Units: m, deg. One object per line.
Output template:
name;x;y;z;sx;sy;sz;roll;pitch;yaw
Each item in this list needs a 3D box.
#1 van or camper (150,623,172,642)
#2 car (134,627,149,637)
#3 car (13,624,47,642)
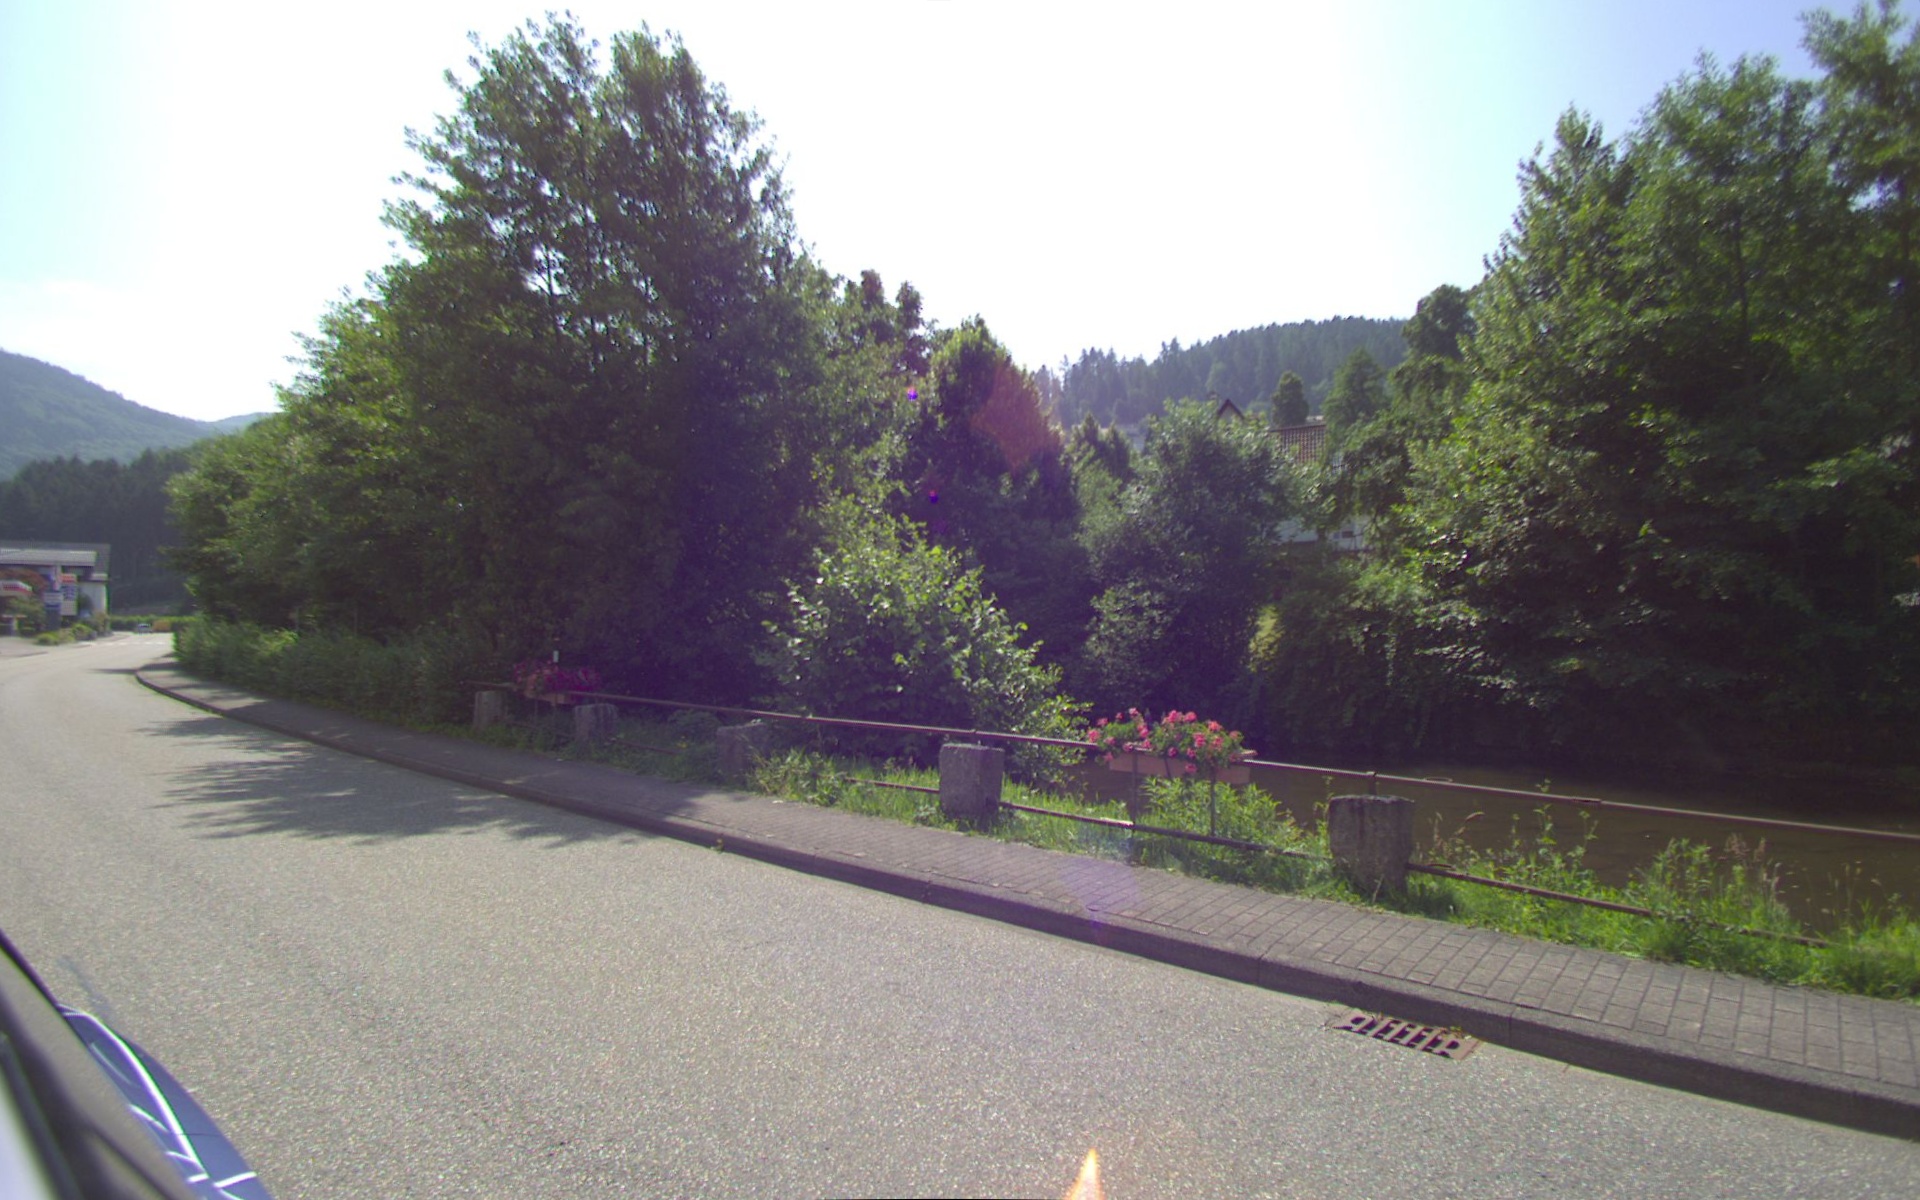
van or camper;-130.976;5.286;165.918;2.327;2.976;8.069;3;-4;-36
car;-129.501;5.018;160.111;1.569;1.494;3.766;3;-3;-35
car;-86.612;3.064;94.280;1.669;1.589;3.920;6;-4;-35
